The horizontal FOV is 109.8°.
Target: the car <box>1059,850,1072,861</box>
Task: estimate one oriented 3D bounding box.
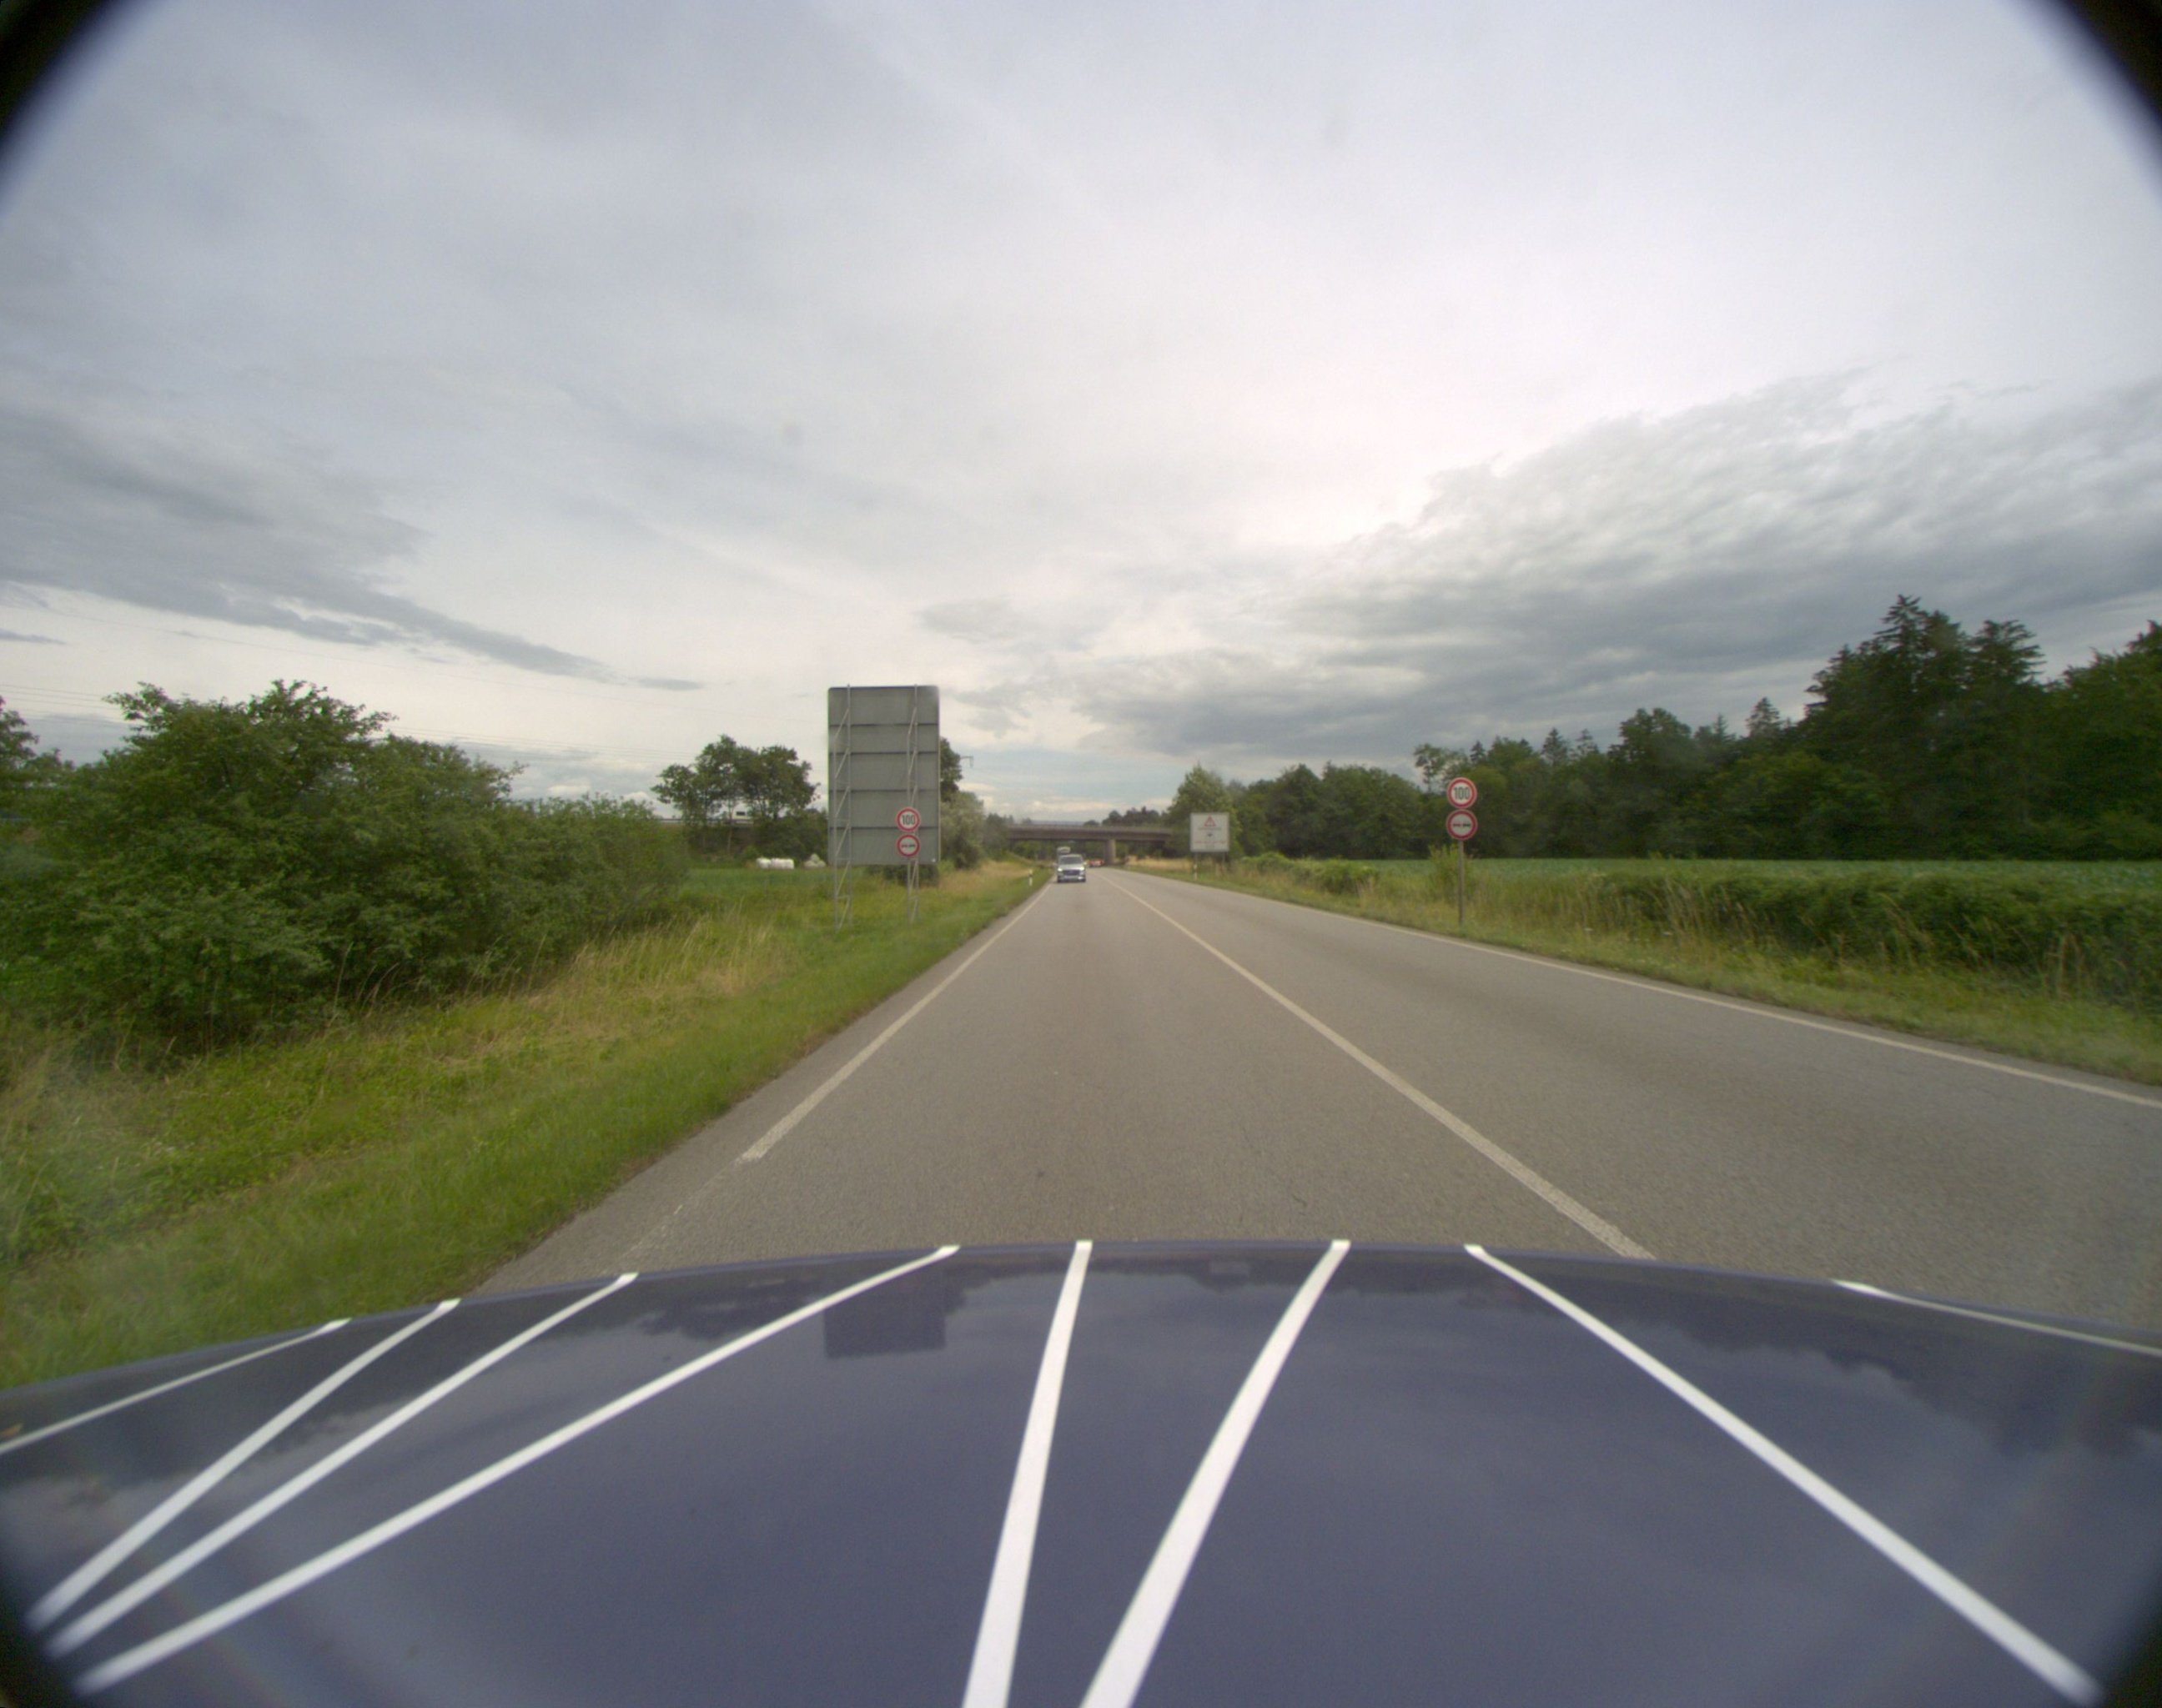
[{"bbox_3d":[-3.266,0.333,157.788,1.997,2.002,4.002,-3,1,8],"label":"car"}]

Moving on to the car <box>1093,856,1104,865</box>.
[{"bbox_3d":[3.042,1.117,129.288,1.771,1.455,4.000,-3,0,1],"label":"car"}]

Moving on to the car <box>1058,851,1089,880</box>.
[{"bbox_3d":[-0.540,0.766,51.863,1.923,1.823,3.999,-3,1,-1],"label":"car"}]
